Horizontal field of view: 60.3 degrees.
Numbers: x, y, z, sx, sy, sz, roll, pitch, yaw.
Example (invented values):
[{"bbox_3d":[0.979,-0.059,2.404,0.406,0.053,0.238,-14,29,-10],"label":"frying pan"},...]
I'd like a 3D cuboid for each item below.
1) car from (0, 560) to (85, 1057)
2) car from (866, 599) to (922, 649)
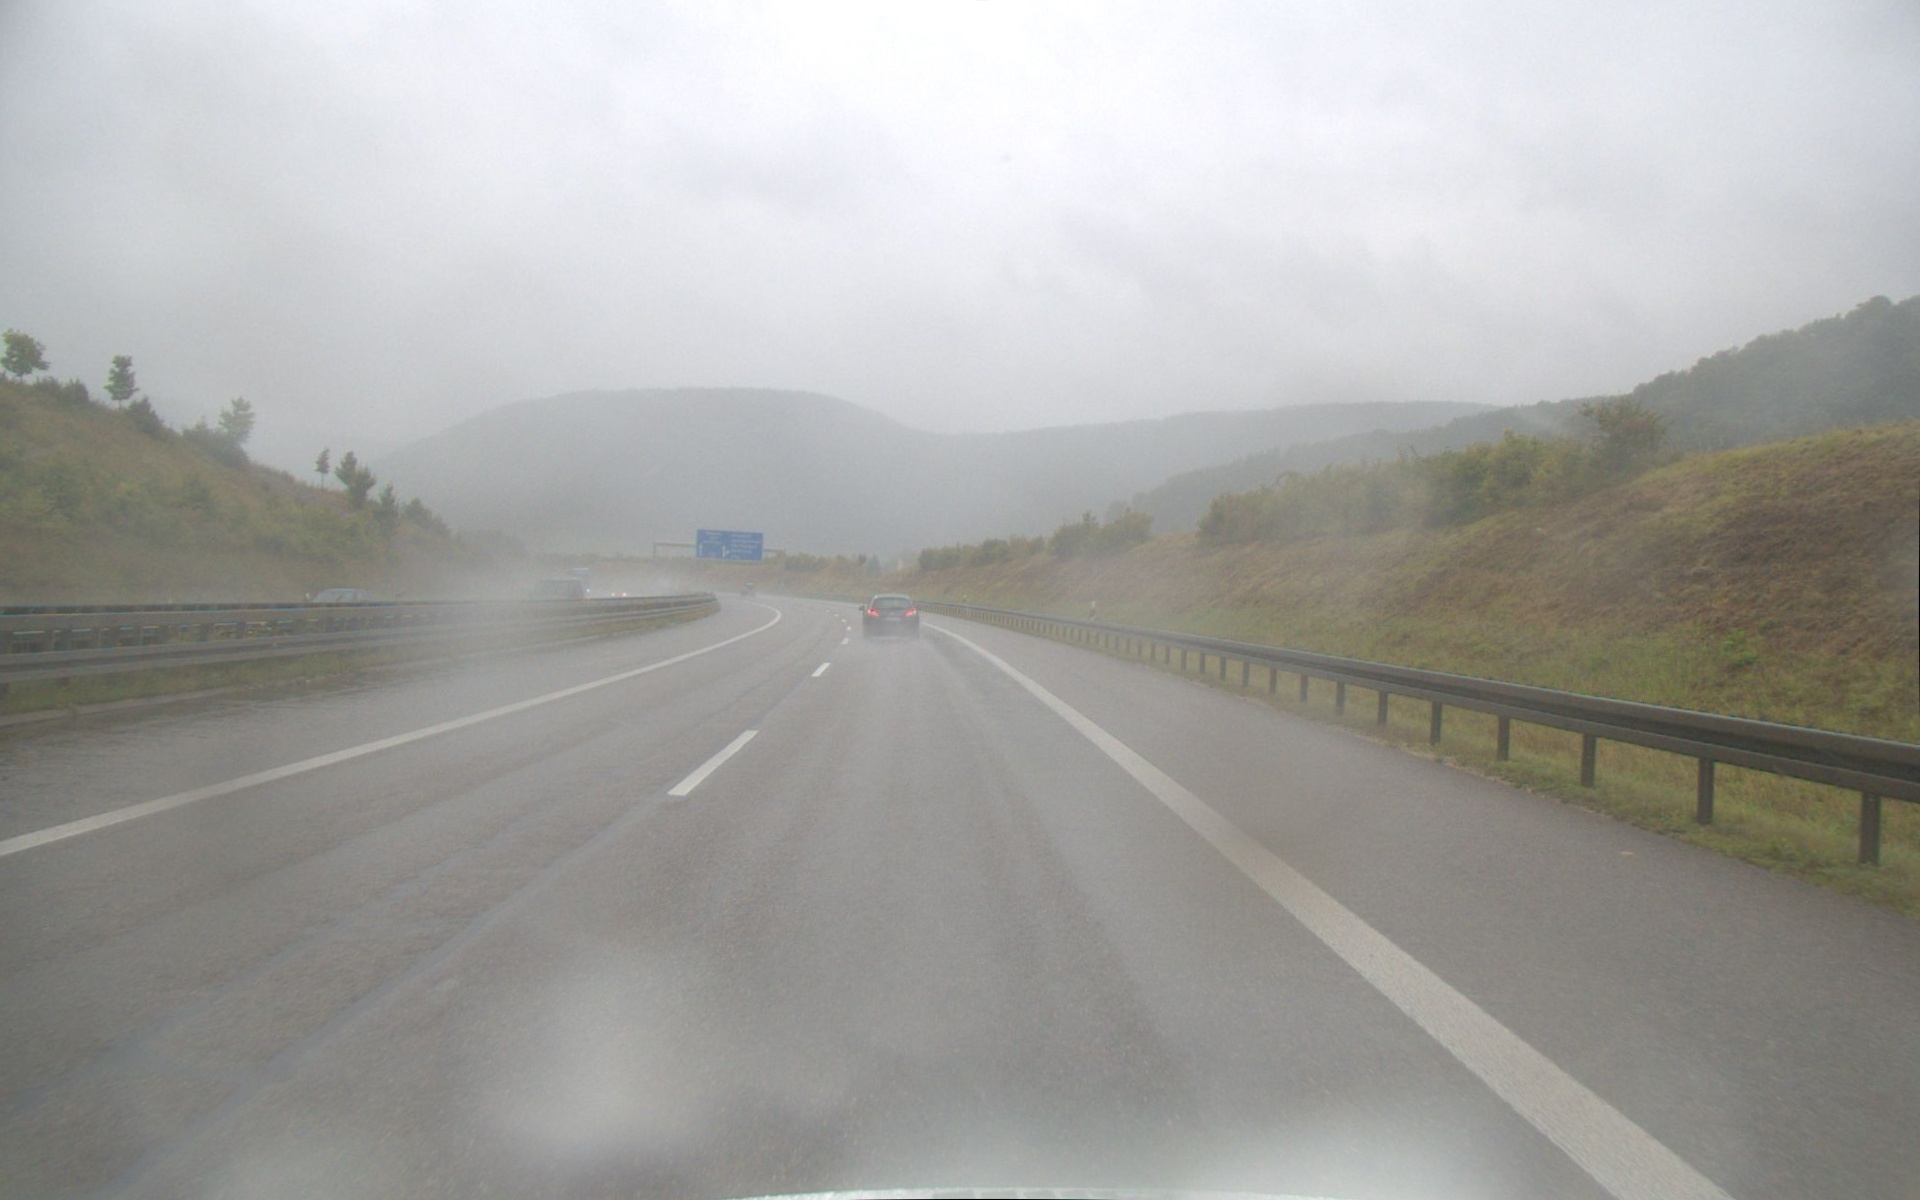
[{"bbox_3d":[-4.152,0.644,3.199,2.357,1.542,4.784,0,0,0],"label":"car"},{"bbox_3d":[-2.115,0.733,52.397,1.646,1.498,3.811,1,0,-4],"label":"car"}]
